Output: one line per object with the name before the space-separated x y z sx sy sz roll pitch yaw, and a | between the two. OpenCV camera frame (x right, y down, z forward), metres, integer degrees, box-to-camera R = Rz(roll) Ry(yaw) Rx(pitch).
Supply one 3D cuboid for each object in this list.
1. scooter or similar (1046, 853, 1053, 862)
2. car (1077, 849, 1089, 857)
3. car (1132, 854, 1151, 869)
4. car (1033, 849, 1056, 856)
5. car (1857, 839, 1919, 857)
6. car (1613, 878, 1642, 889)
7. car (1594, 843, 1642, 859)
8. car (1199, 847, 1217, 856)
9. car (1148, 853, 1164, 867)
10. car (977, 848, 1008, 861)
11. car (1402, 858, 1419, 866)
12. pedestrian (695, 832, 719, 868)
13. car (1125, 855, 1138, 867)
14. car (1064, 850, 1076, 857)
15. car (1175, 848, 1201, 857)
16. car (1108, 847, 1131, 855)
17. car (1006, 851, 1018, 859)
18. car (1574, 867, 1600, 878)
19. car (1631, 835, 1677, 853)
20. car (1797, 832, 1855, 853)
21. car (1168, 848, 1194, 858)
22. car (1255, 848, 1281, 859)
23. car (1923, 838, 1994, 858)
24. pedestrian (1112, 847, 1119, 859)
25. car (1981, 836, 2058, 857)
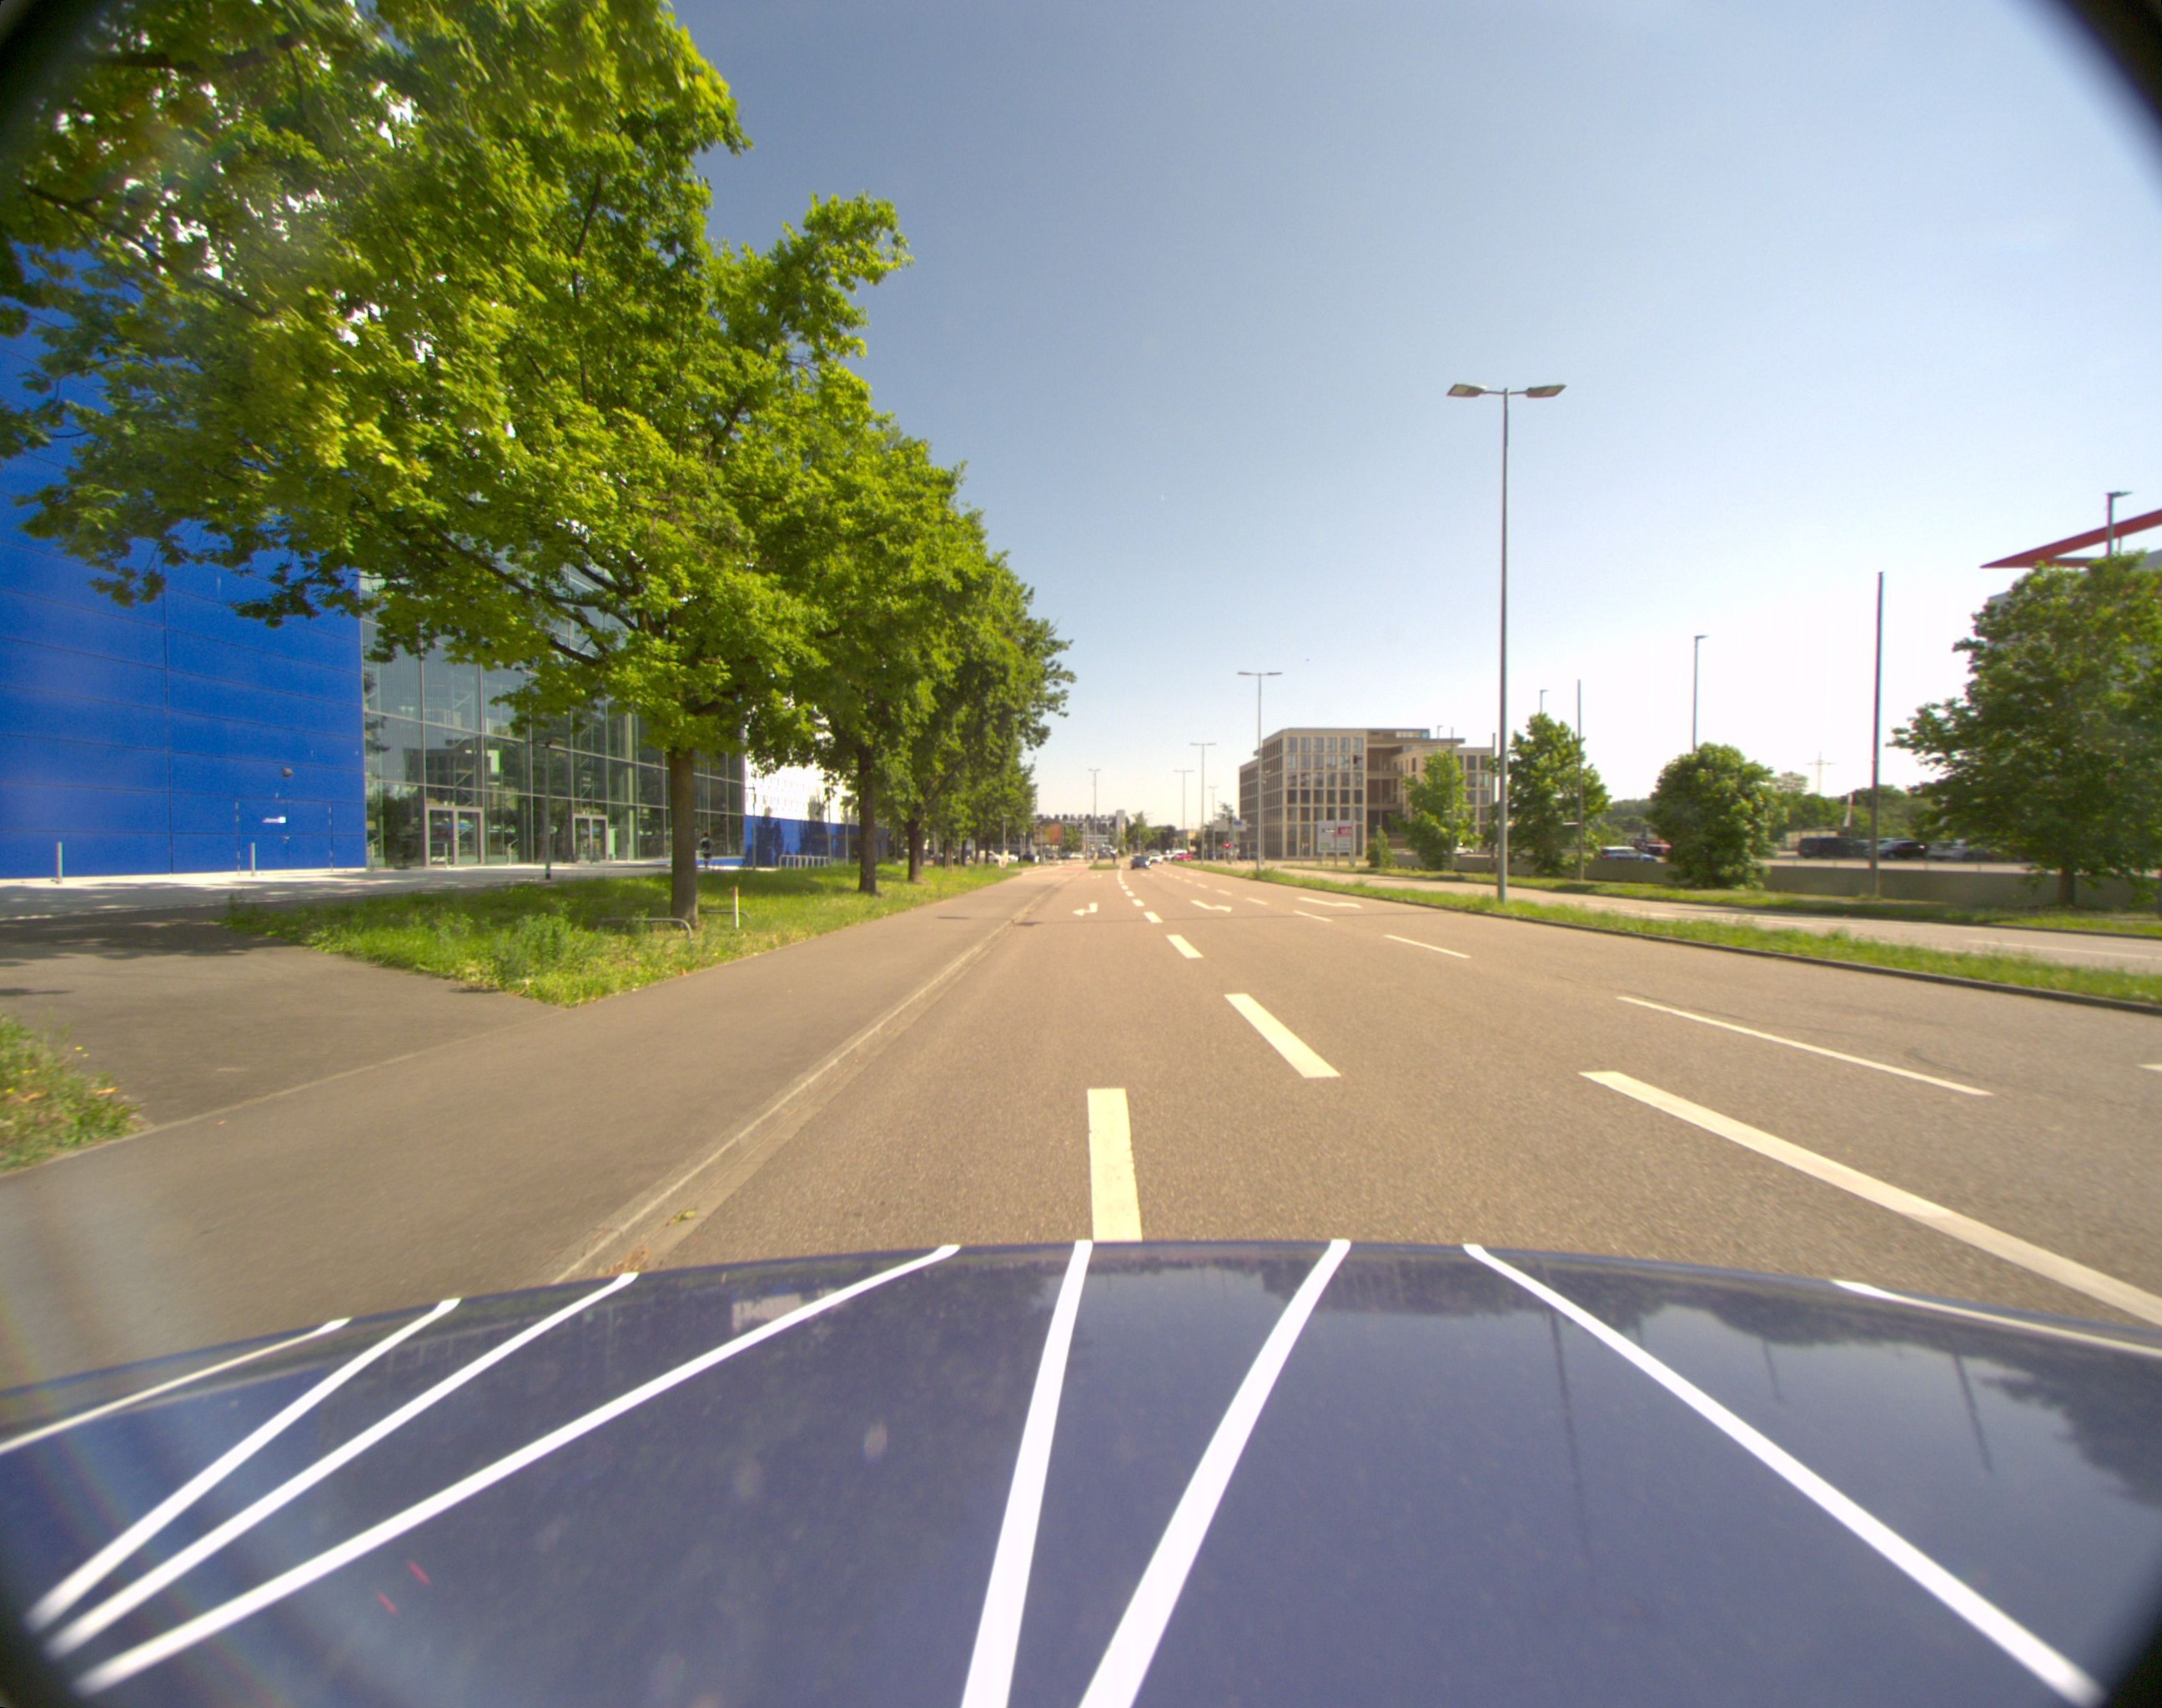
scooter or similar | -3.976 0.449 96.001 0.402 1.160 1.185 0 2 18
car | 0.357 -0.162 146.828 1.886 1.452 4.001 0 2 6
car | 6.319 0.754 79.736 1.770 1.456 4.238 1 2 2
car | -7.089 -0.203 146.956 4.348 1.342 1.821 0 1 -1
car | 62.081 -0.474 58.475 3.095 1.322 1.515 0 2 0
car | 50.352 2.722 70.062 1.942 0.970 1.070 -1 2 -4
car | 36.803 -0.191 52.065 2.520 1.054 1.071 -1 2 -2
car | 29.887 -0.674 178.895 3.990 2.002 2.003 1 1 22
car | 11.149 0.873 112.556 2.025 1.827 4.311 0 2 2
car | -14.449 0.066 124.298 4.997 1.996 1.740 0 2 -1
car | 43.279 1.017 99.782 1.942 0.970 0.889 -1 2 -2
pedestrian | -16.677 -0.174 33.891 0.690 1.602 0.771 1 0 -3
car | 7.572 1.012 114.231 1.832 1.703 3.766 0 2 3
car | -2.100 -0.124 146.700 1.997 1.452 4.002 0 0 6
car | 17.999 -0.194 127.614 4.117 1.519 1.530 0 1 -1
car | 7.497 -0.608 149.580 4.478 1.578 1.980 0 1 2
car | -13.305 0.147 146.774 2.004 1.413 4.114 -3 0 -1
car | 50.943 1.854 76.500 1.942 0.970 0.910 -1 2 -2
car | 51.842 -0.914 68.788 2.774 1.547 1.774 0 0 0
car | 62.422 -0.969 63.692 3.095 1.748 1.692 0 2 0
car | 17.410 -0.198 132.543 4.228 1.701 1.904 0 1 -1
car | 33.533 -0.122 136.474 4.240 1.878 1.834 0 2 1
car | 62.065 -0.446 53.754 3.222 1.322 1.515 0 2 0
pedestrian | 5.080 -0.121 112.751 0.704 1.769 0.961 1 1 26
car | 63.077 -0.518 51.092 3.222 1.322 1.515 0 2 0
